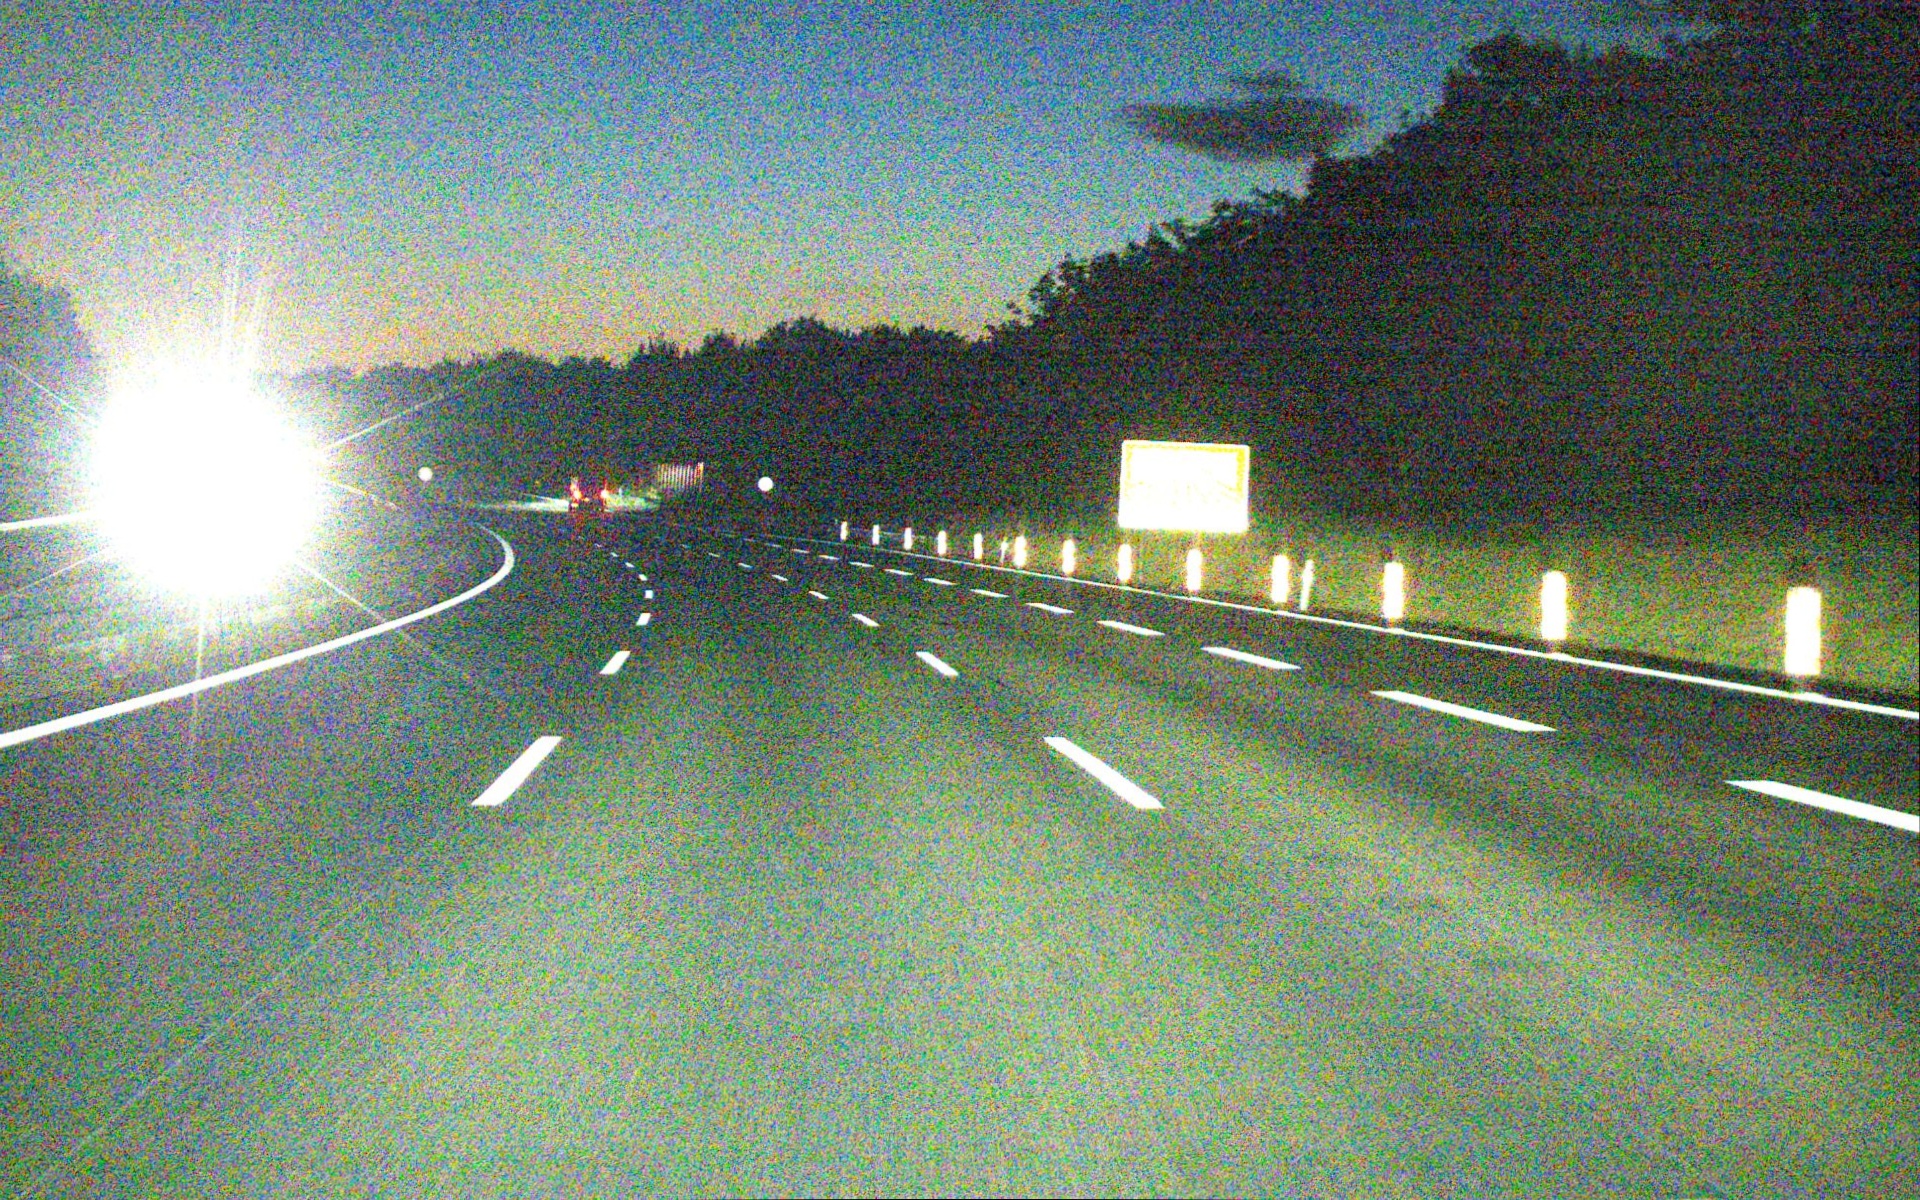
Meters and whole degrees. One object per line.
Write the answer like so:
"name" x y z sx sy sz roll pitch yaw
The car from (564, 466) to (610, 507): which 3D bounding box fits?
"car" -25.166 -7.654 232.058 2.527 2.544 6.053 2 2 -11
